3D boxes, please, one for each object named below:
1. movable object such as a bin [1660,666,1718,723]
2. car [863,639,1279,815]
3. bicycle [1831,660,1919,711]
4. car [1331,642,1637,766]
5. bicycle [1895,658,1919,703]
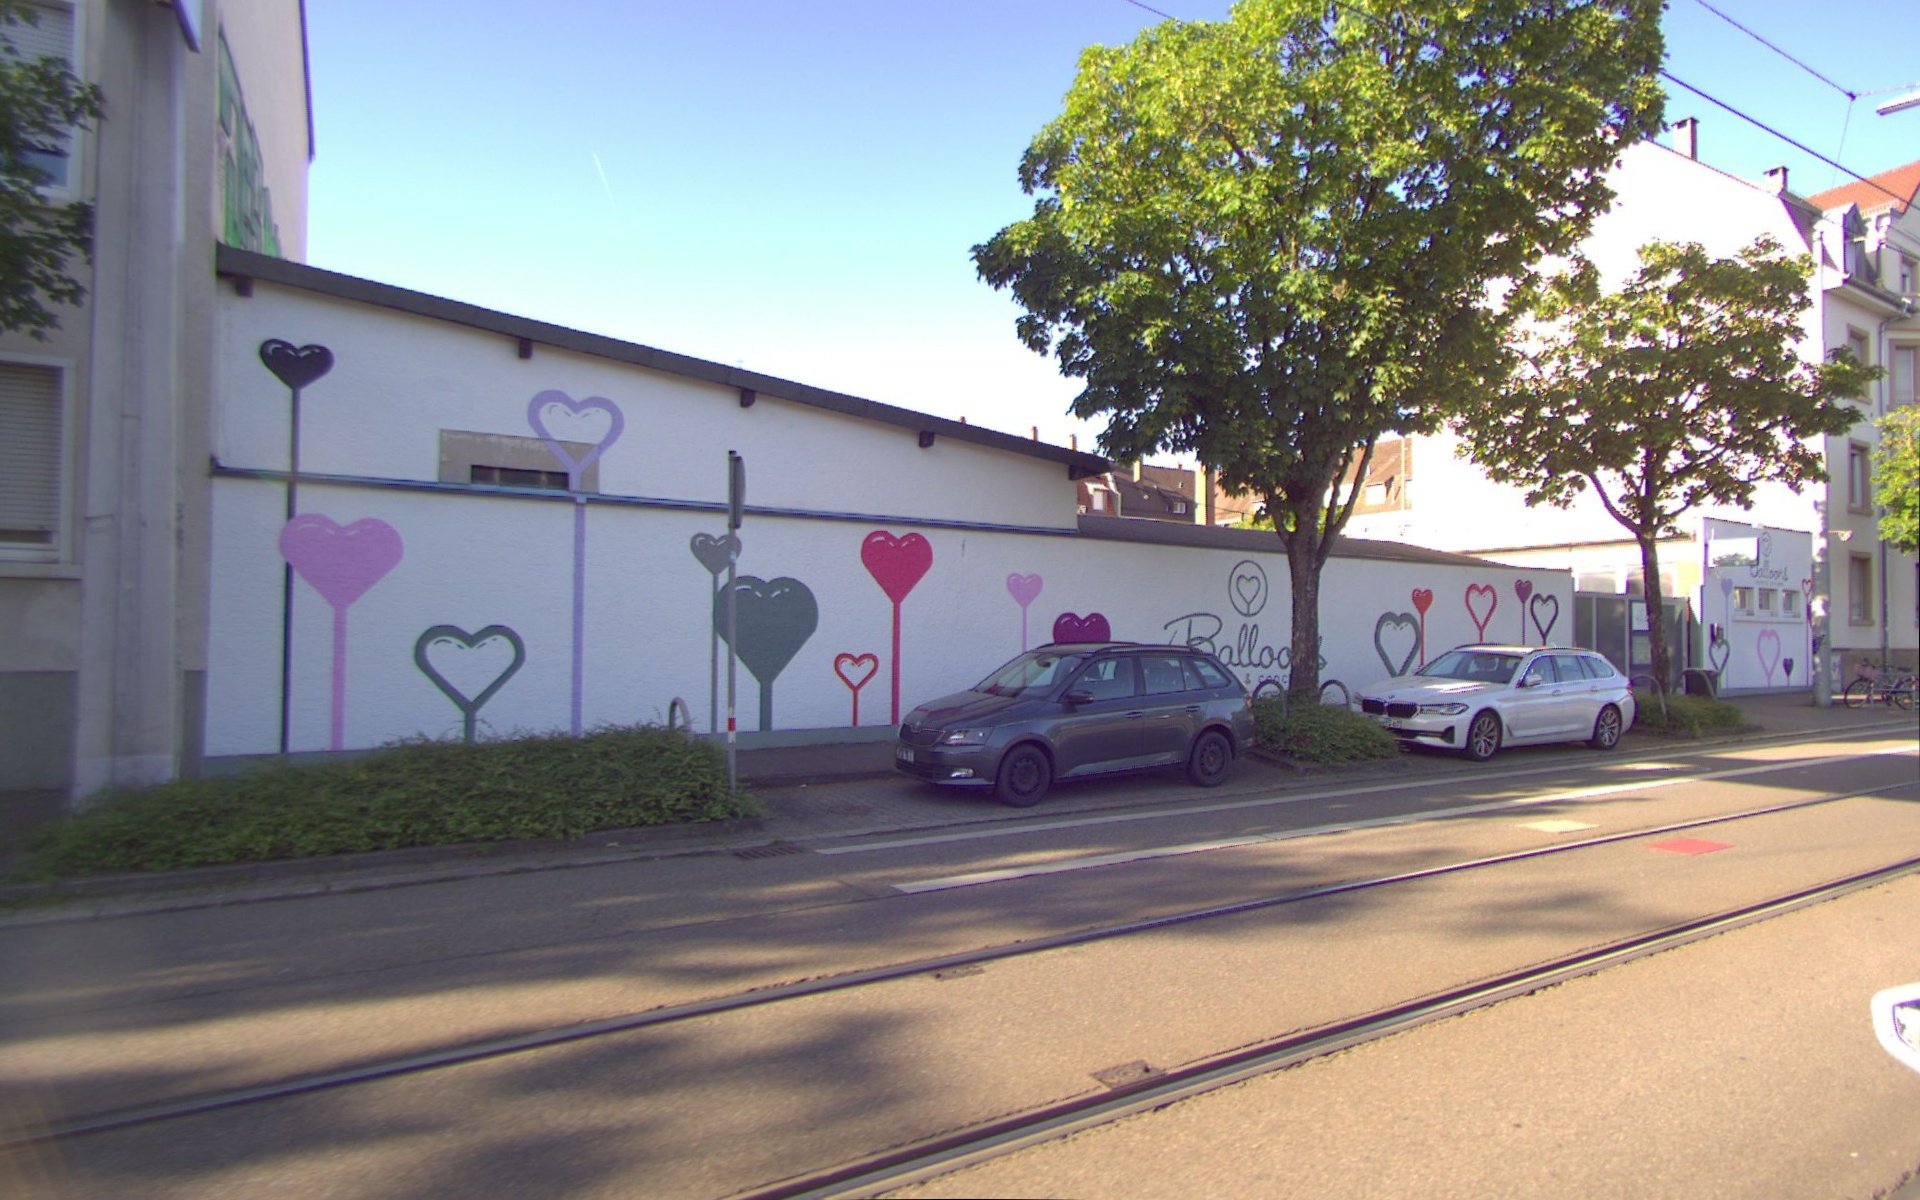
[{"bbox_3d":[13.539,1.741,18.669,0.694,0.973,0.579,2,3,-30],"label":"movable object such as a bin"},{"bbox_3d":[1.273,1.212,10.754,4.258,1.505,1.763,2,-1,-32],"label":"car"},{"bbox_3d":[20.885,1.925,22.686,1.750,1.053,0.670,1,-1,8],"label":"bicycle"},{"bbox_3d":[7.733,1.418,14.710,4.608,1.510,1.855,2,-1,-31],"label":"car"},{"bbox_3d":[24.085,1.985,24.437,1.947,1.053,0.532,1,-1,14],"label":"bicycle"}]
